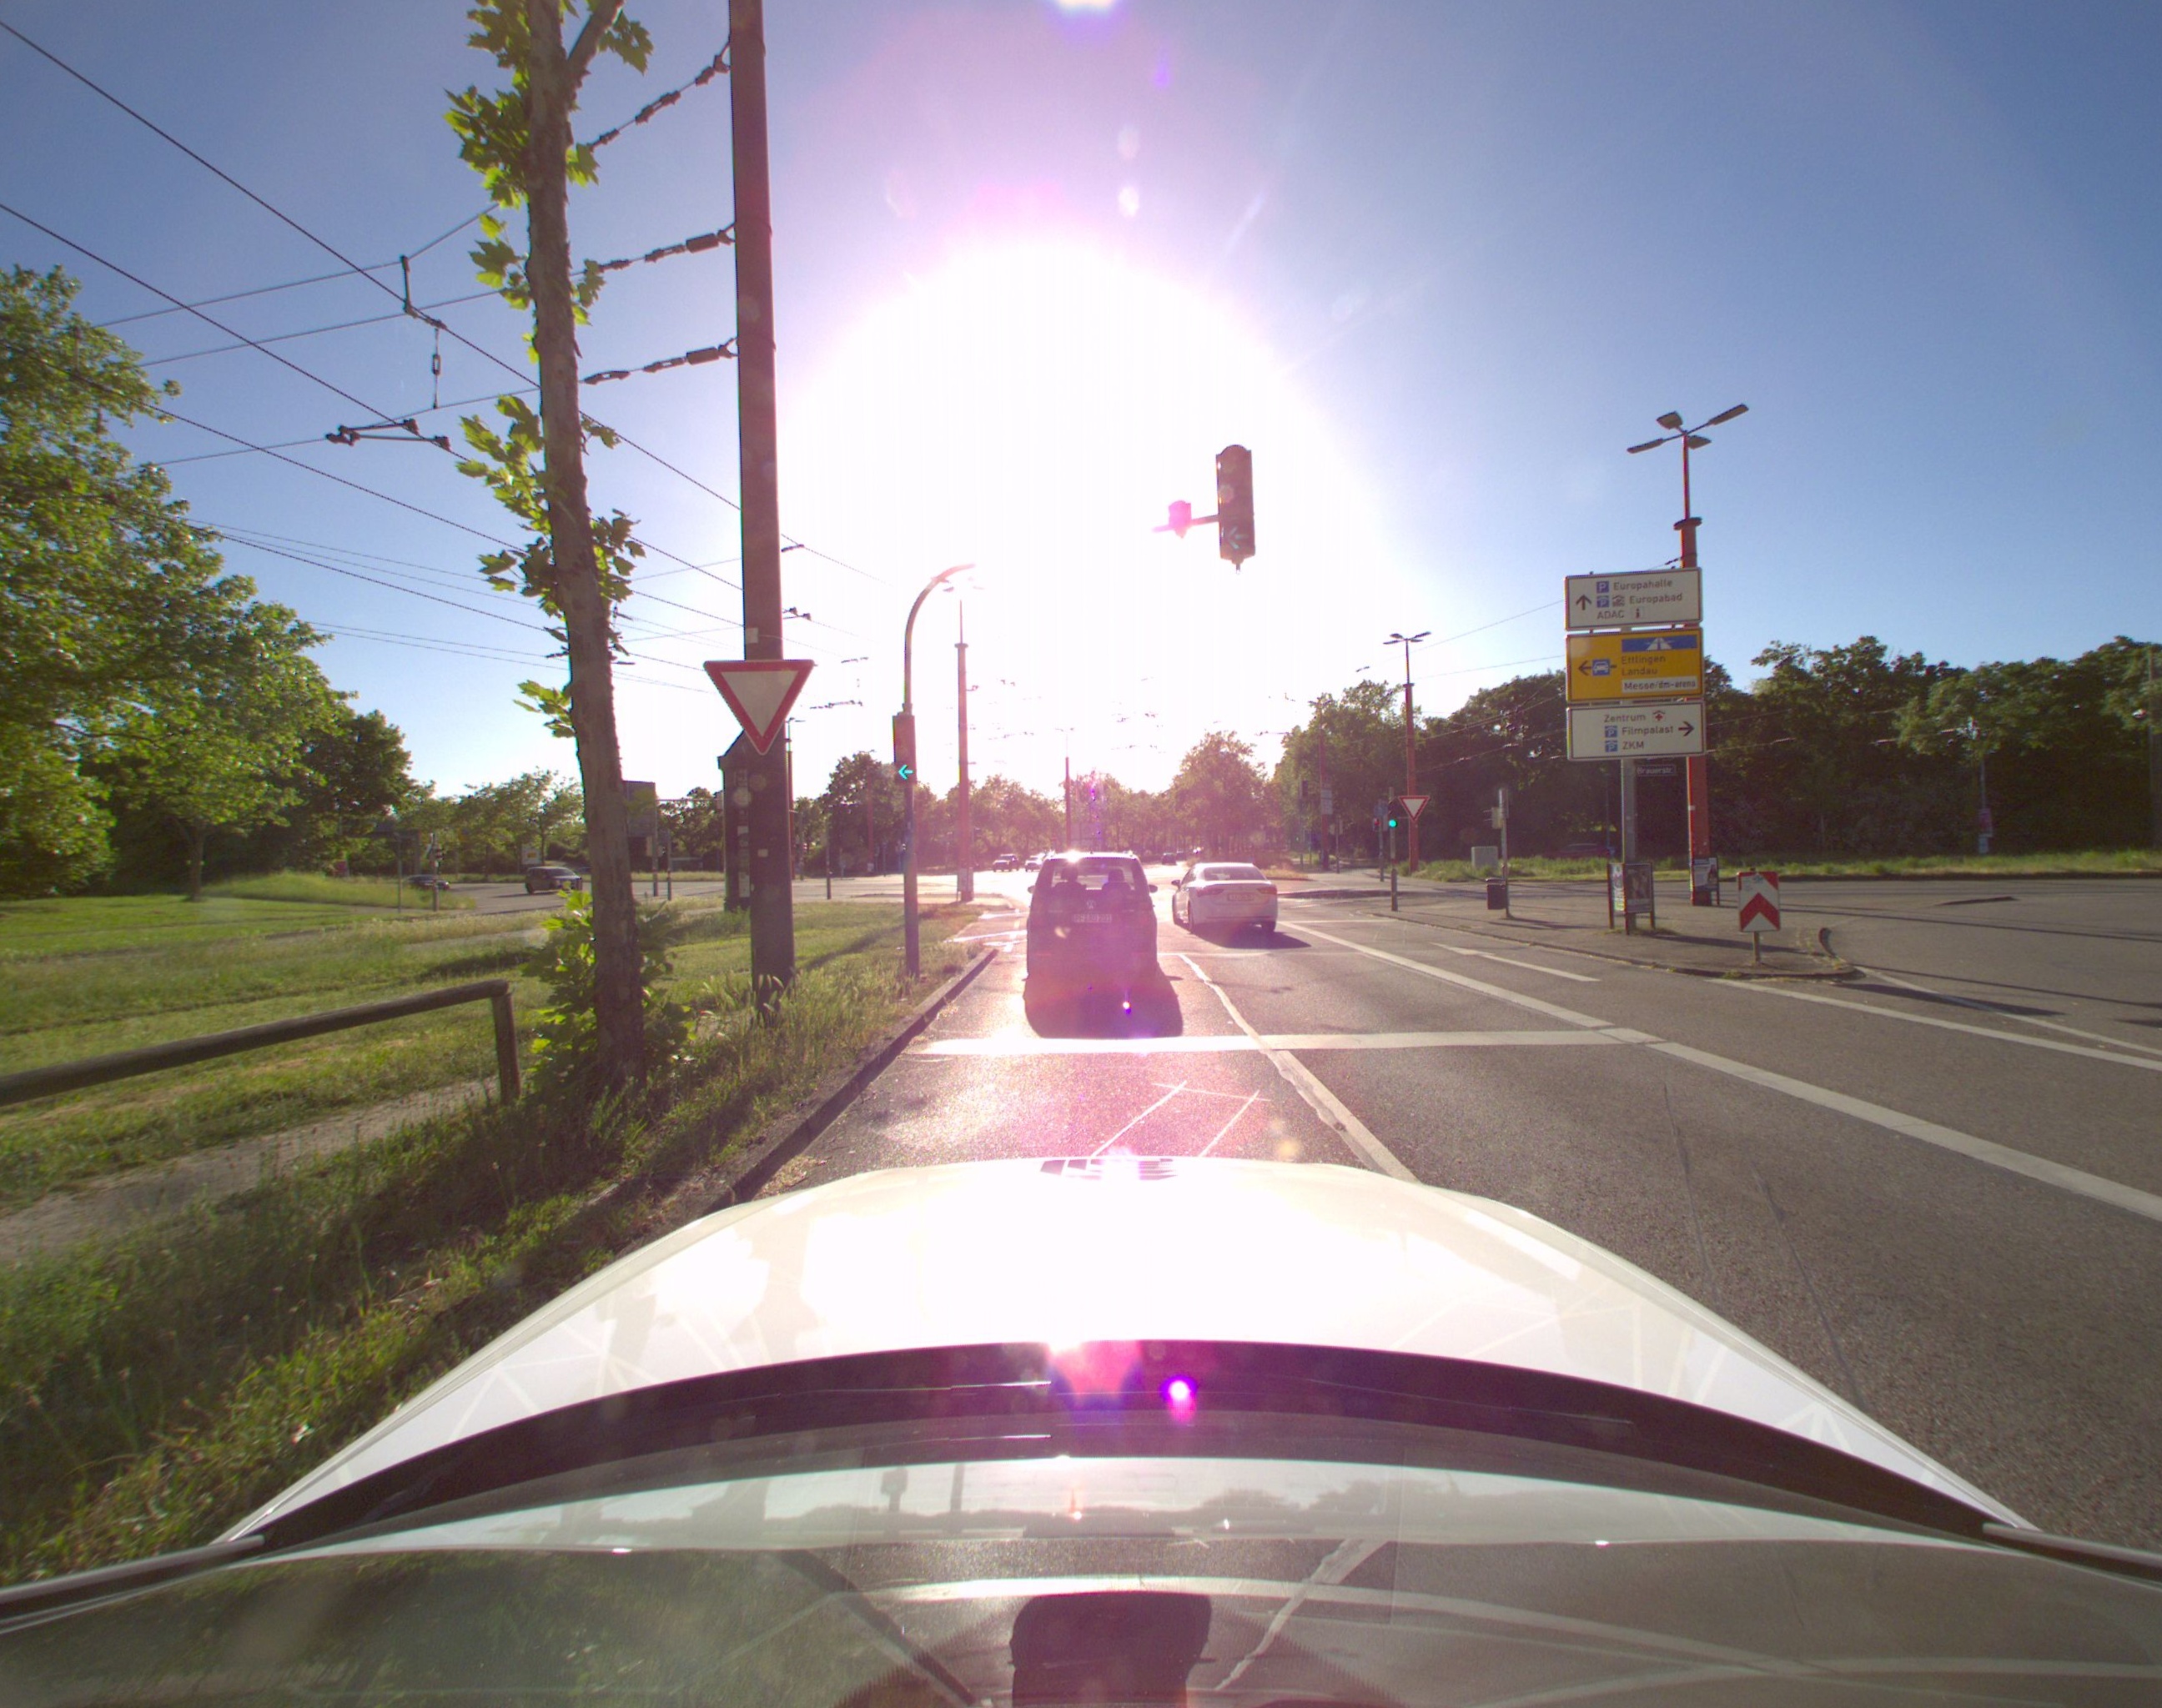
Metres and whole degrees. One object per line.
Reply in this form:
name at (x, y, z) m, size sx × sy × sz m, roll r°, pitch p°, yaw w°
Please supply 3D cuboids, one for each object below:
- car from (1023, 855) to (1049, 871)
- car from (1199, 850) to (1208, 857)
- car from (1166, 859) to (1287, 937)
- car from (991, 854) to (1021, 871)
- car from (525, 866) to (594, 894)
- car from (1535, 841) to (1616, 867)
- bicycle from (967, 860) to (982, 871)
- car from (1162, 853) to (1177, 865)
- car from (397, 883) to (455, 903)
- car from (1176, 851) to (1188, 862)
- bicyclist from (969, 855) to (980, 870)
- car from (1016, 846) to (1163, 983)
car at (-4.524, 0.906, 83.170) m, size 1.757 × 1.538 × 4.102 m, roll -1°, pitch 0°, yaw 10°
car at (25.622, -0.109, 170.523) m, size 1.778 × 1.502 × 4.062 m, roll 0°, pitch 0°, yaw 11°
car at (3.099, 0.876, 18.217) m, size 1.763 × 1.464 × 4.362 m, roll -1°, pitch 0°, yaw -2°
car at (-7.822, 0.877, 85.453) m, size 1.890 × 1.726 × 4.667 m, roll -1°, pitch 0°, yaw 11°
car at (-35.572, 1.779, 55.541) m, size 4.390 × 1.775 × 1.916 m, roll -1°, pitch 1°, yaw 27°
car at (30.922, 0.025, 51.077) m, size 4.235 × 1.495 × 2.012 m, roll -1°, pitch 0°, yaw 28°
bicycle at (-11.282, 1.196, 86.013) m, size 0.758 × 1.091 × 2.024 m, roll -2°, pitch 1°, yaw 18°
car at (11.287, 0.627, 103.934) m, size 1.780 × 1.388 × 4.058 m, roll 0°, pitch 0°, yaw 7°
car at (-52.361, 3.109, 65.075) m, size 4.508 × 1.474 × 1.916 m, roll -1°, pitch 2°, yaw 27°
car at (16.262, 0.436, 131.232) m, size 1.862 × 1.627 × 4.007 m, roll 0°, pitch -1°, yaw 7°
bicyclist at (-11.262, 0.916, 86.088) m, size 0.753 × 1.557 × 0.986 m, roll -2°, pitch 0°, yaw 17°
car at (0.127, 0.739, 12.436) m, size 1.762 × 1.644 × 4.923 m, roll -1°, pitch 0°, yaw 0°
